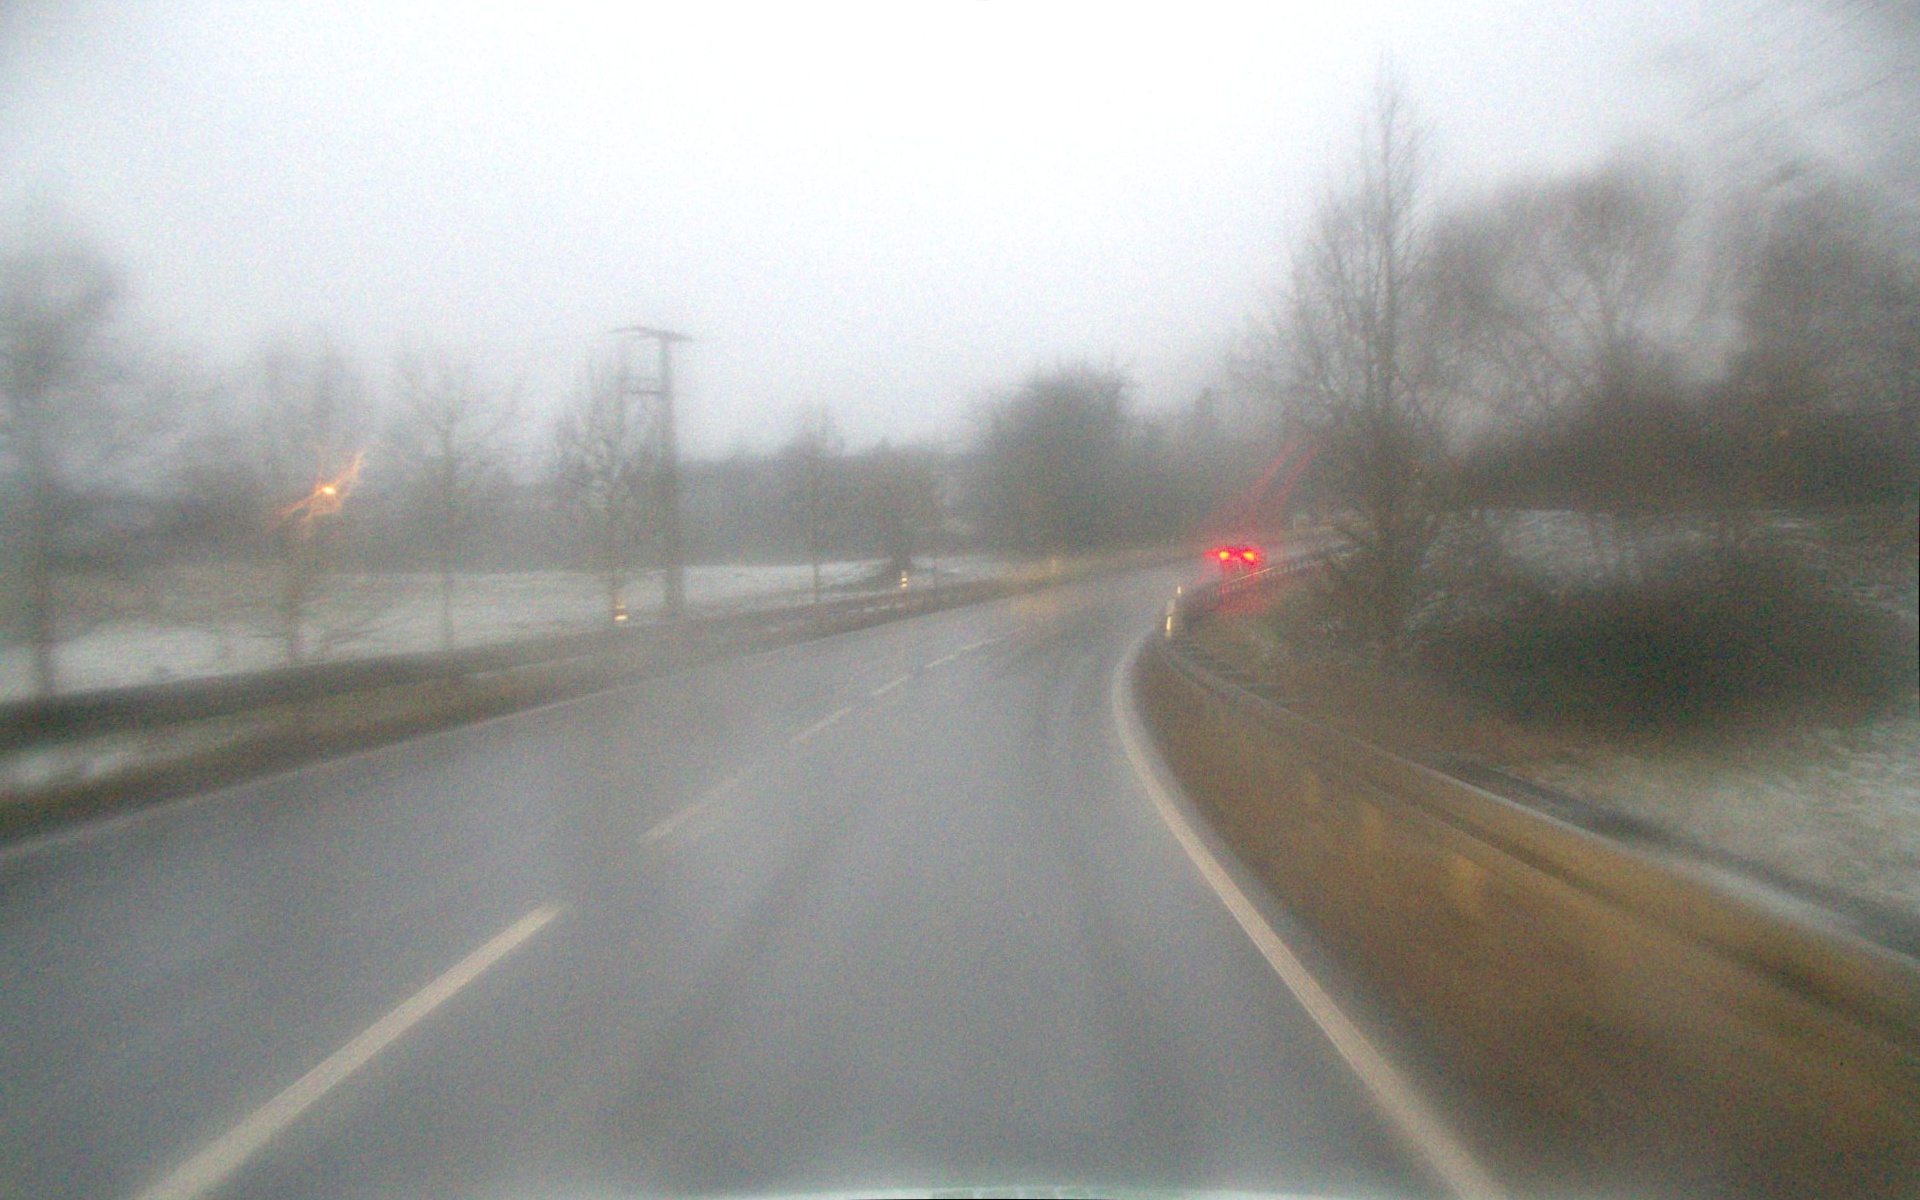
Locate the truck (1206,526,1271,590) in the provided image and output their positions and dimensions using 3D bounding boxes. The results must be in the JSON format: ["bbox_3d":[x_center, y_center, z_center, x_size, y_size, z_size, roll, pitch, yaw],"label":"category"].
[{"bbox_3d":[14.194,-2.176,83.974,2.478,2.918,5.929,-1,4,16],"label":"truck"}]
